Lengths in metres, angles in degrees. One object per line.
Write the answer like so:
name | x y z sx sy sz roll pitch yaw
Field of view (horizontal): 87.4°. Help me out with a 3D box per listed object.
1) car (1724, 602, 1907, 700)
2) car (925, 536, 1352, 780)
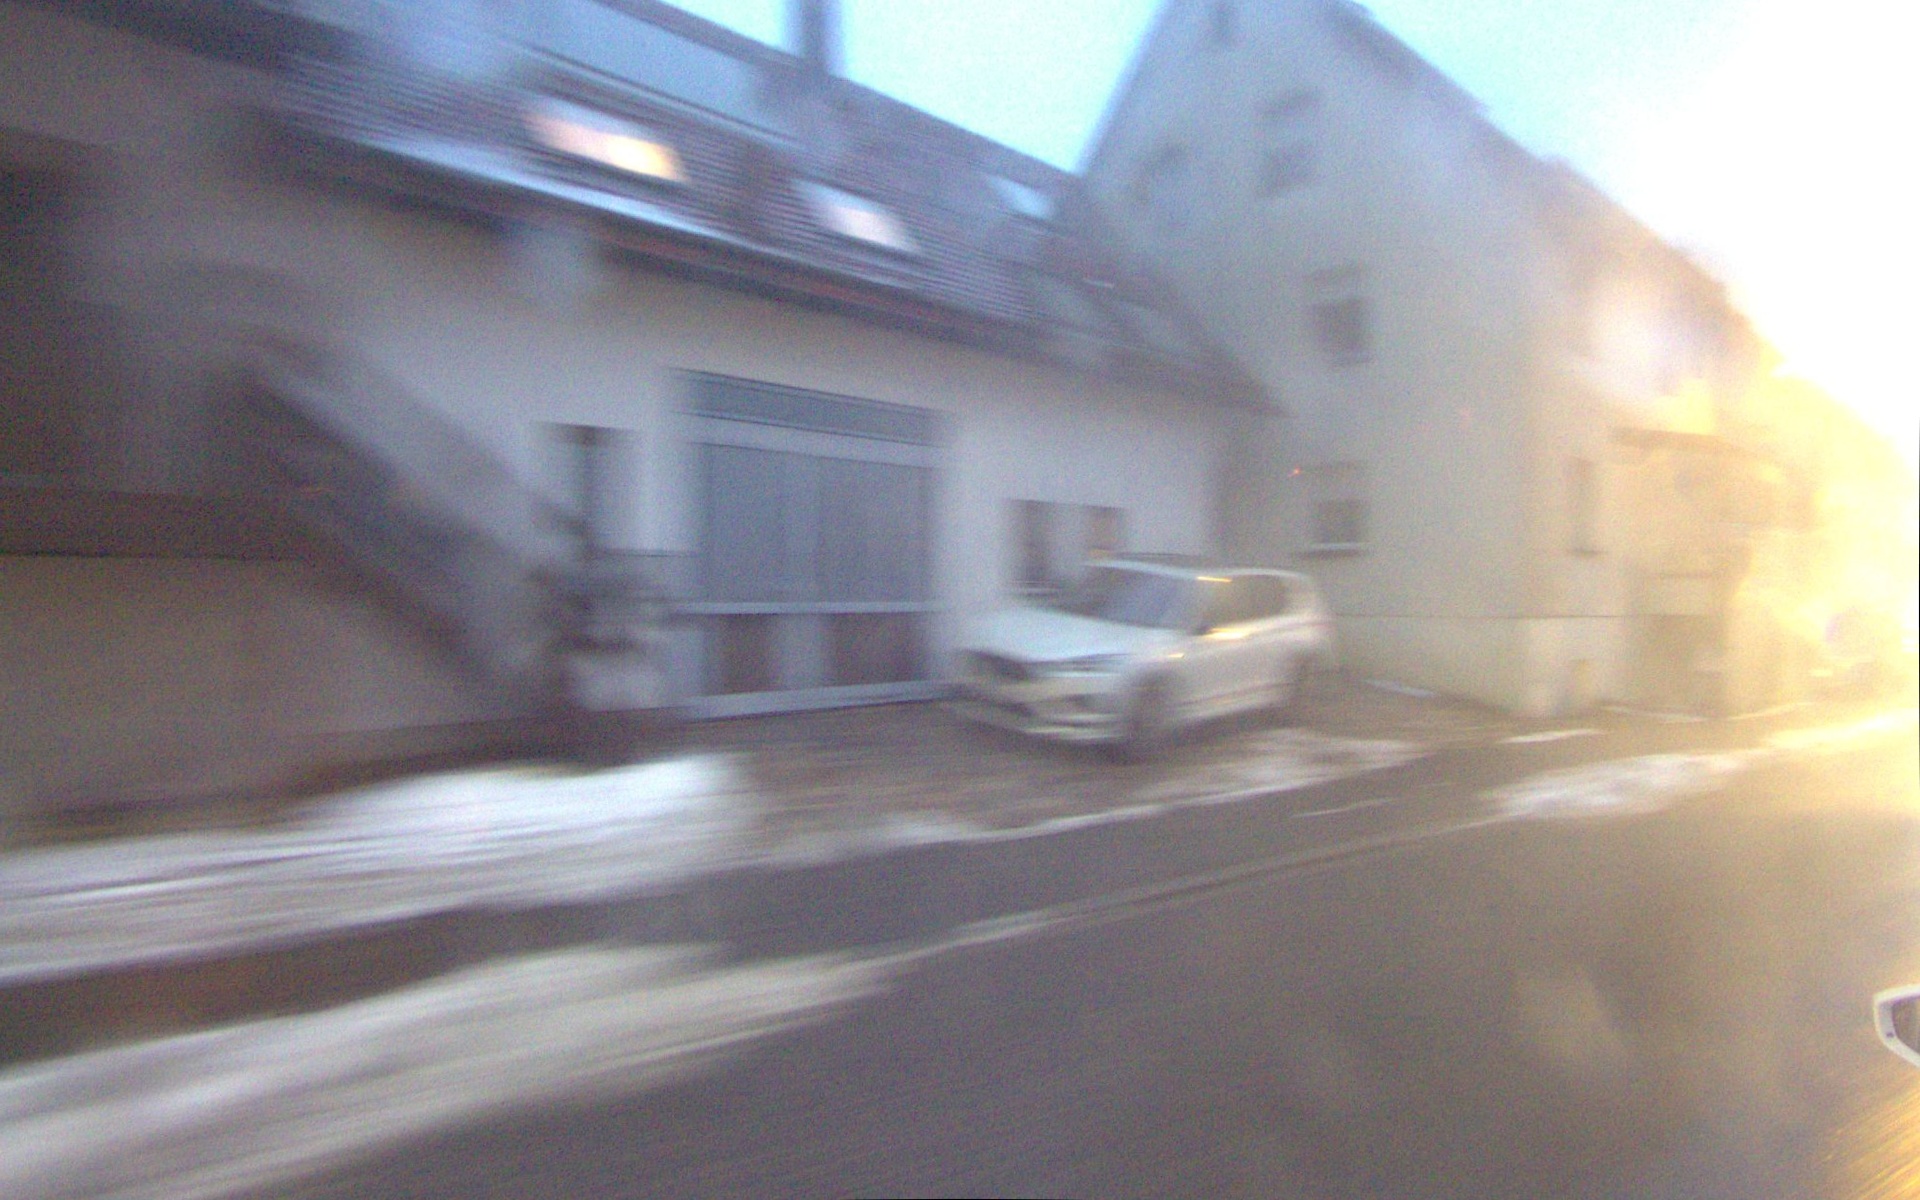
car | 16.367 0.879 19.155 4.157 1.543 1.976 0 3 -41
car | 1.947 0.338 9.831 1.746 1.760 4.609 8 7 44
